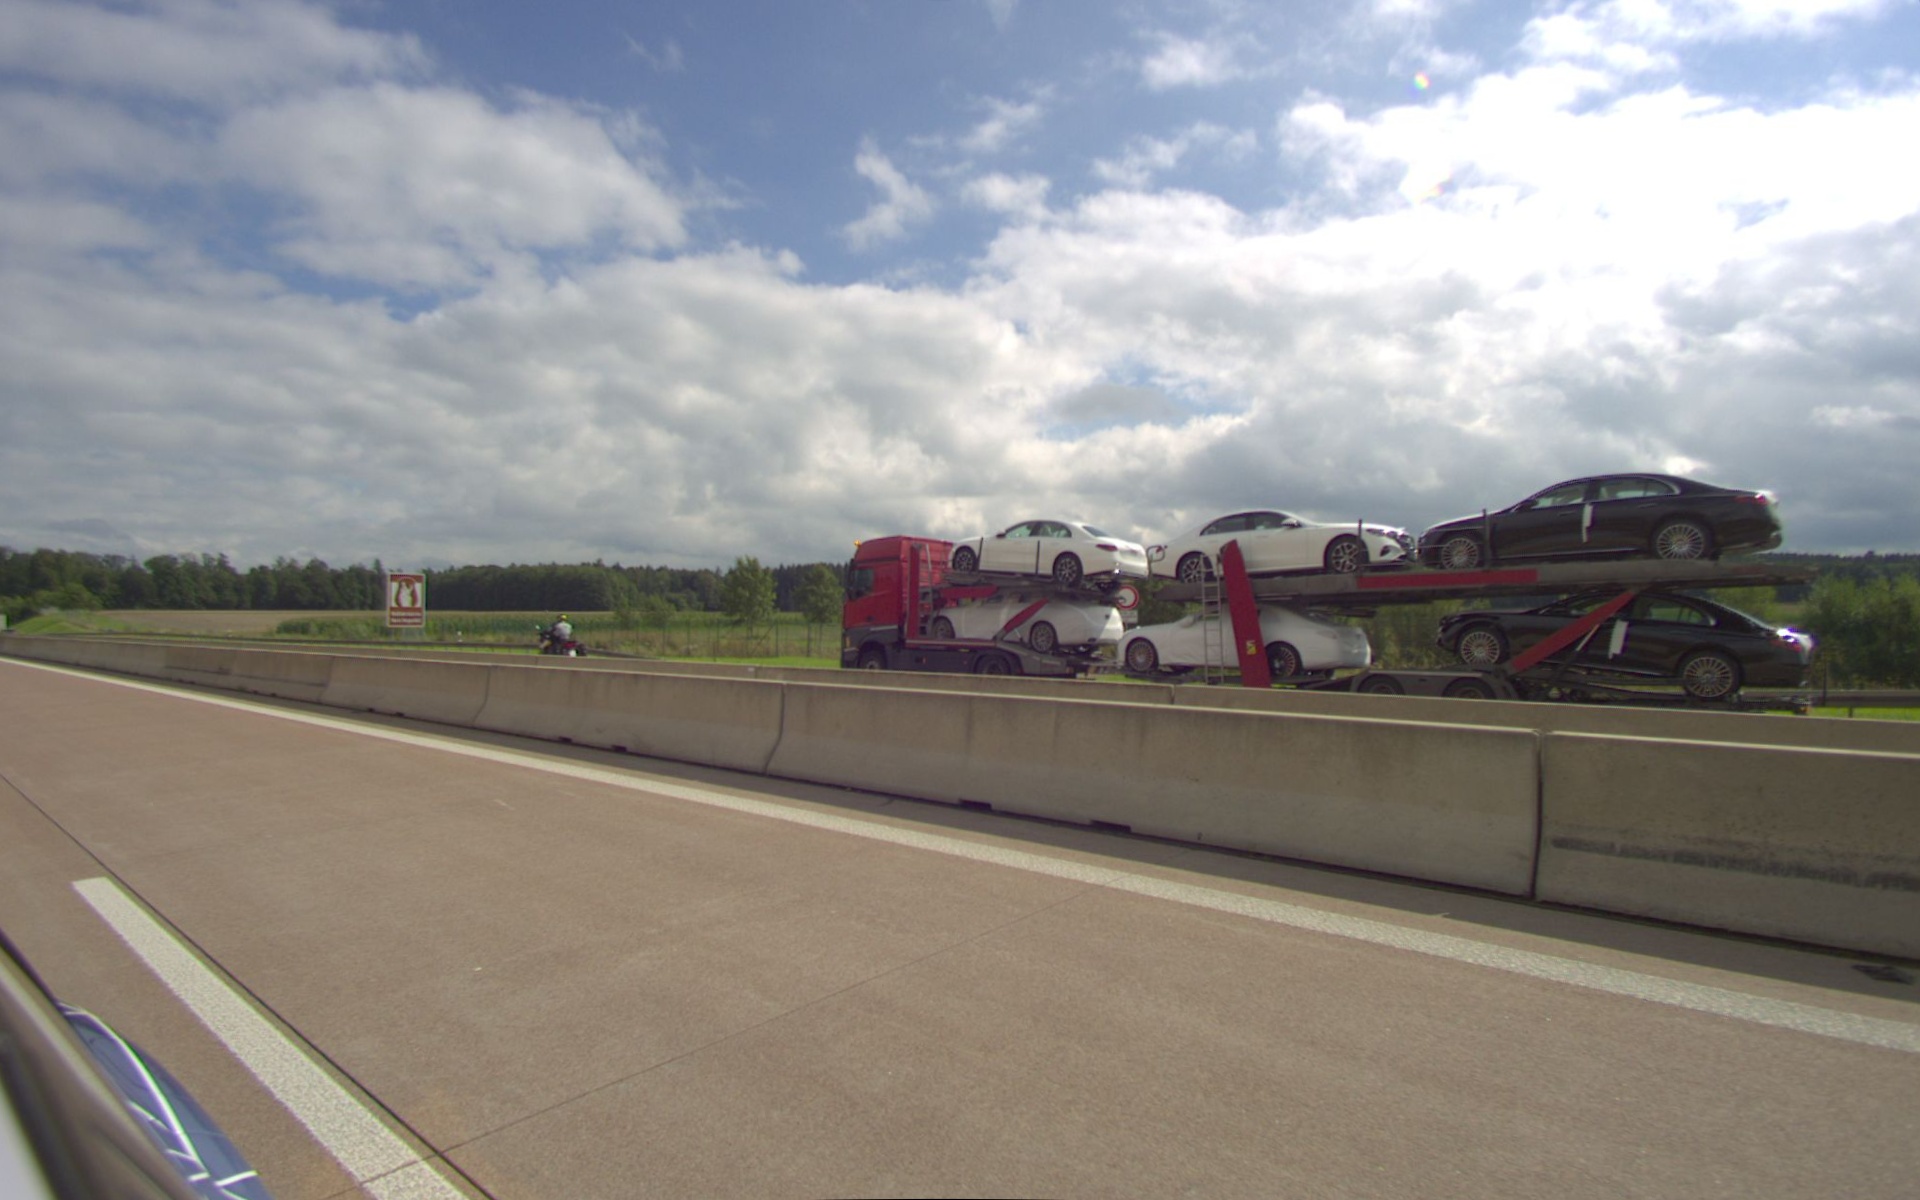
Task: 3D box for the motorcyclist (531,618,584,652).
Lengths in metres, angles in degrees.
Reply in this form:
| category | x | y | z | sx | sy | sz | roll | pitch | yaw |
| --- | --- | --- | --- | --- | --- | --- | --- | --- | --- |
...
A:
| category | x | y | z | sx | sy | sz | roll | pitch | yaw |
| --- | --- | --- | --- | --- | --- | --- | --- | --- | --- |
| motorcyclist | -11.794 | 1.020 | 29.670 | 0.839 | 0.956 | 1.173 | -1 | 0 | 41 |

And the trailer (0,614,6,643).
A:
| category | x | y | z | sx | sy | sz | roll | pitch | yaw |
| --- | --- | --- | --- | --- | --- | --- | --- | --- | --- |
| trailer | -162.027 | 4.802 | 168.465 | 13.864 | 4.611 | 3.369 | -2 | -2 | 42 |

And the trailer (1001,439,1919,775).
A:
| category | x | y | z | sx | sy | sz | roll | pitch | yaw |
| --- | --- | --- | --- | --- | --- | --- | --- | --- | --- |
| trailer | 7.997 | 0.169 | 17.393 | 16.321 | 4.008 | 3.160 | -1 | 0 | 42 |

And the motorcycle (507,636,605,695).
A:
| category | x | y | z | sx | sy | sz | roll | pitch | yaw |
| --- | --- | --- | --- | --- | --- | --- | --- | --- | --- |
| motorcycle | -11.821 | 1.868 | 29.567 | 2.840 | 1.554 | 1.537 | -1 | 0 | 42 |

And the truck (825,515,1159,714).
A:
| category | x | y | z | sx | sy | sz | roll | pitch | yaw |
| --- | --- | --- | --- | --- | --- | --- | --- | --- | --- |
| truck | 0.531 | 0.330 | 24.181 | 7.728 | 4.008 | 3.160 | -1 | 0 | 42 |
